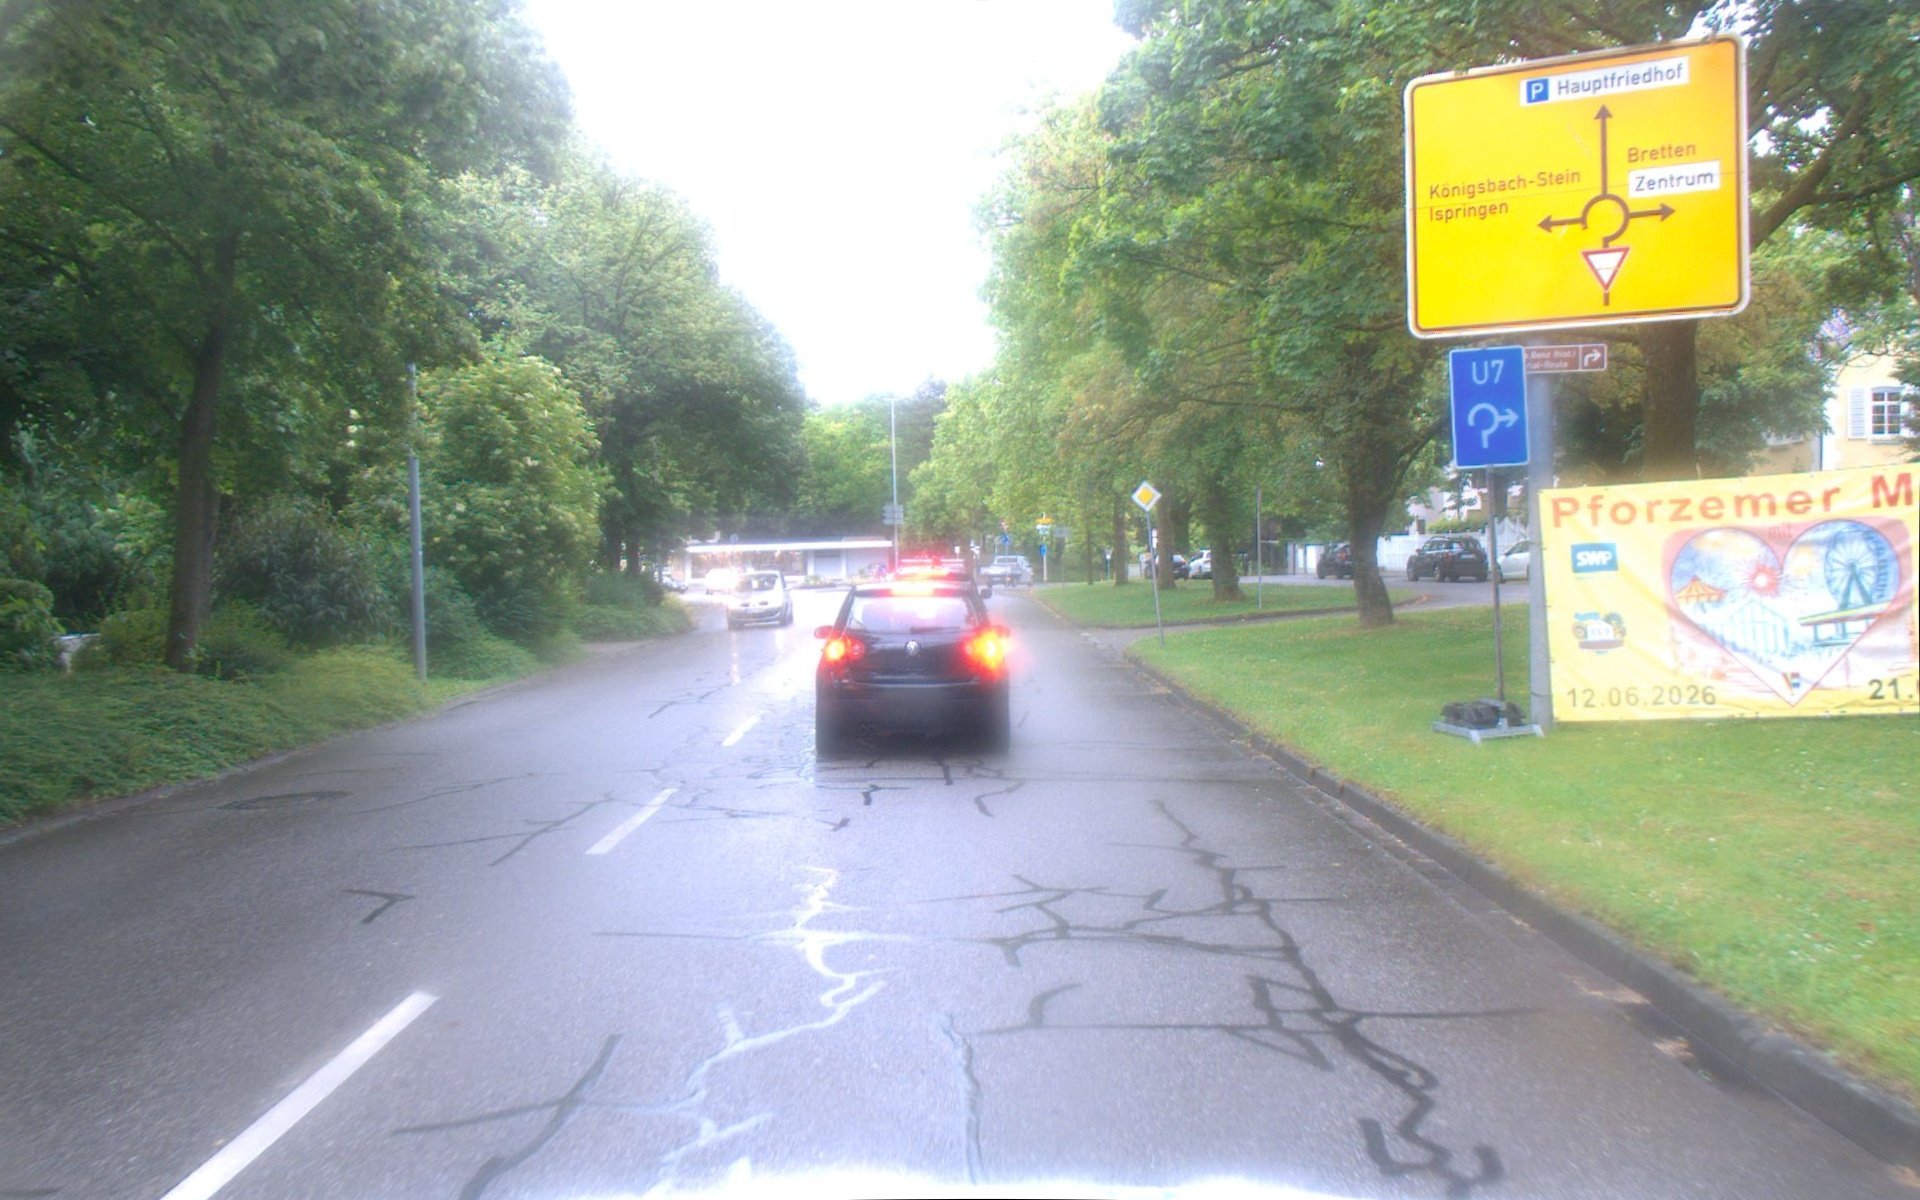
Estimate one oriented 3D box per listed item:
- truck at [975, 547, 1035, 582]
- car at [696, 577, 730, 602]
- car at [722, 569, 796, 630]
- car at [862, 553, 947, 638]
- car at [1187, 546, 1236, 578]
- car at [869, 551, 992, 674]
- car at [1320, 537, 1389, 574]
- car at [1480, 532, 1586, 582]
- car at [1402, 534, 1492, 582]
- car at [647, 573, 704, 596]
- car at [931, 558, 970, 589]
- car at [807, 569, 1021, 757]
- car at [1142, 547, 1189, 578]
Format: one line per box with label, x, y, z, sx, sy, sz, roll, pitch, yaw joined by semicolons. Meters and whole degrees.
truck;2.856;-2.220;103.814;2.366;2.039;5.153;-2;1;18
car;-16.766;-0.699;112.082;1.744;1.646;3.786;-1;1;-17
car;-5.908;-0.065;48.937;1.728;1.642;4.140;-3;1;-2
car;-1.235;-0.131;38.571;1.818;1.815;4.000;-2;1;0
car;12.793;-1.950;84.341;1.767;1.430;4.000;-4;2;-1
car;-0.456;0.140;27.255;1.818;1.815;4.000;-2;1;0
car;17.049;-1.949;71.641;1.766;1.436;4.110;-3;2;-3
car;18.085;-1.373;52.351;1.585;1.434;4.006;-3;2;-6
car;17.492;-1.538;59.594;1.766;1.556;4.110;-3;2;-3
car;-21.154;-1.128;123.055;3.893;1.417;1.799;-3;1;32
car;-0.548;-1.397;88.484;1.673;1.539;3.669;-3;1;-6
car;-0.391;0.497;15.568;1.762;1.542;3.753;0;1;0
car;10.426;-1.925;84.199;1.767;1.409;4.000;-4;2;-1
